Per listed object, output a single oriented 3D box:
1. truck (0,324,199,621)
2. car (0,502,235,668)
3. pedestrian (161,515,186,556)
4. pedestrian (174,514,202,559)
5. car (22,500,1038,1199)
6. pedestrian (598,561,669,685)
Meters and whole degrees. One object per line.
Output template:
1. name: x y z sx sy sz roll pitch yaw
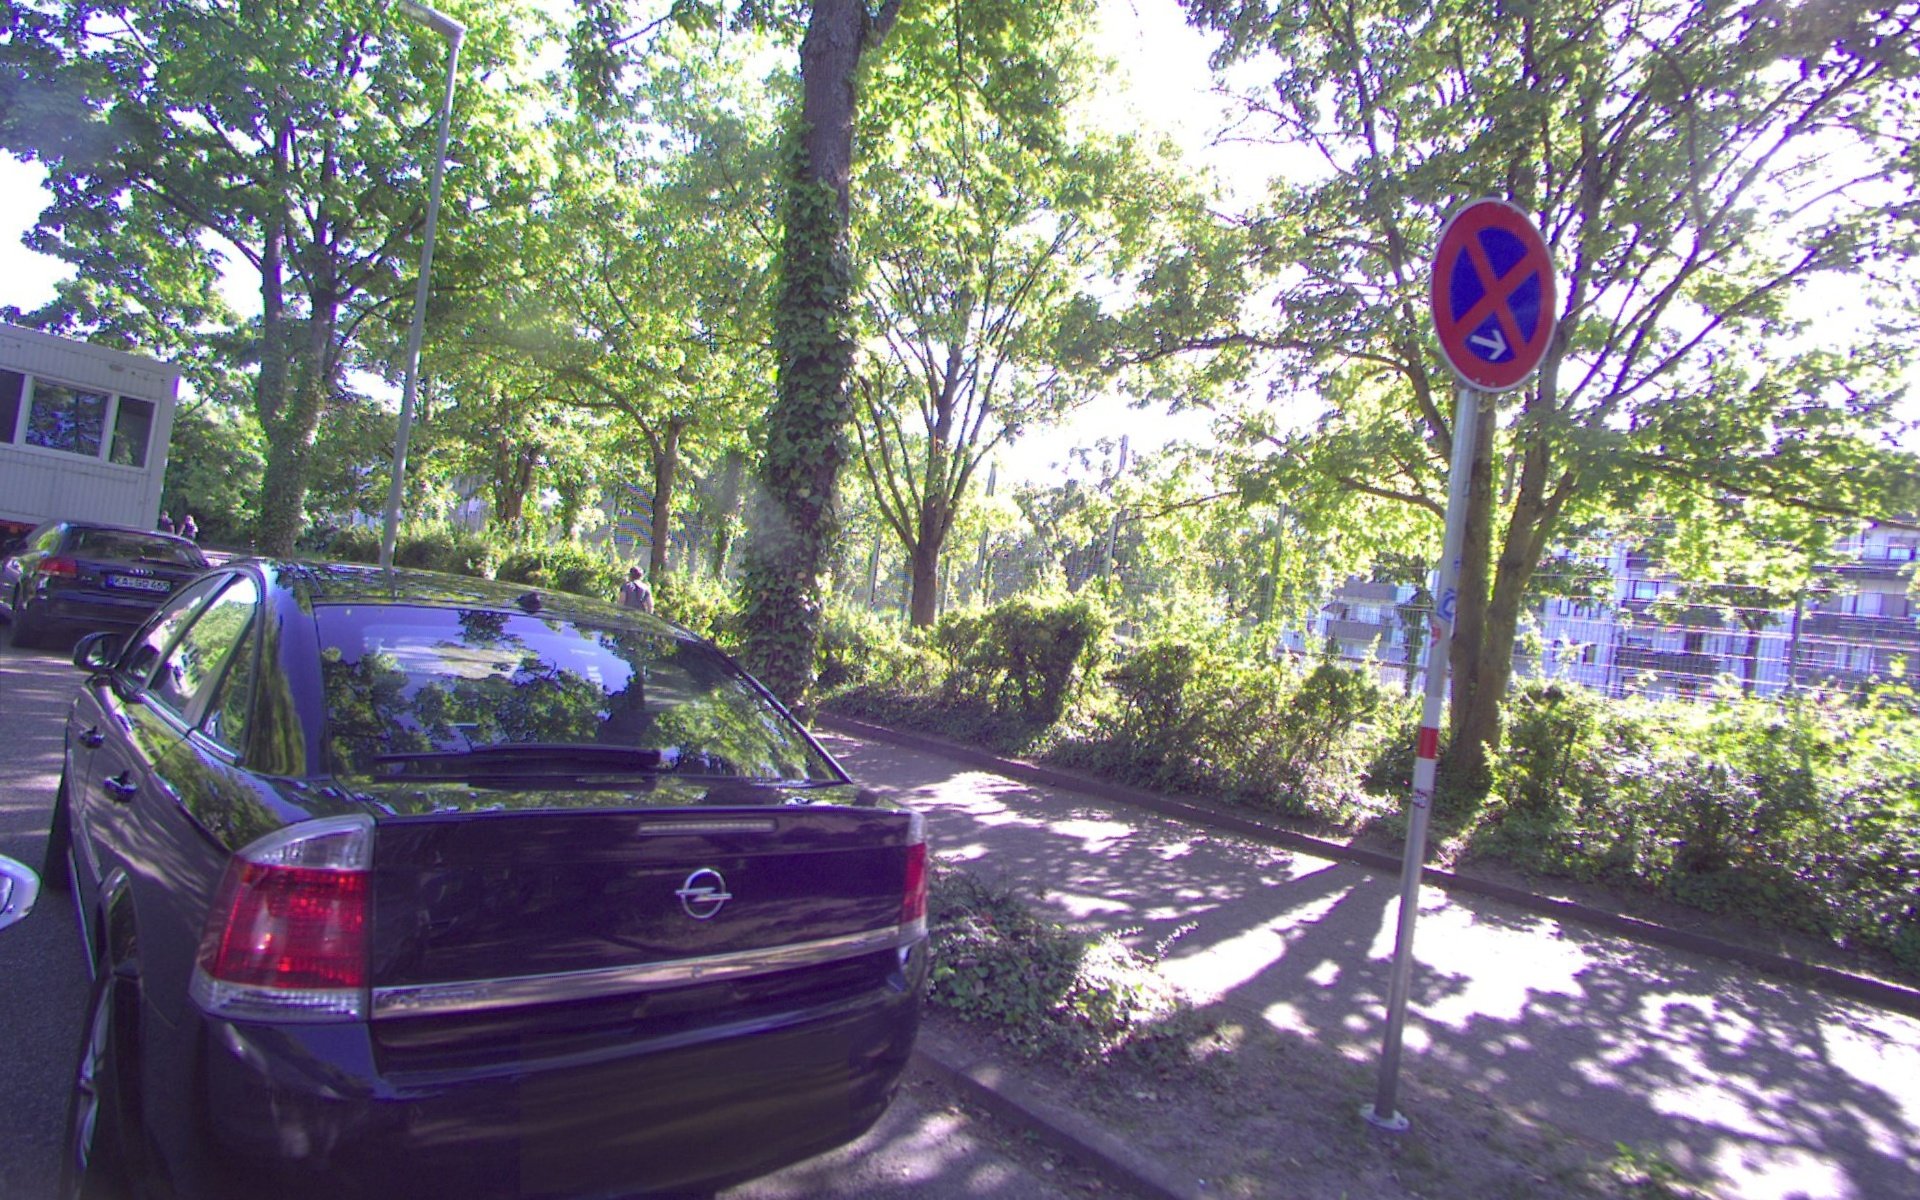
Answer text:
1. truck: -17.164 -2.280 18.752 10.211 4.041 2.770 7 -2 44
2. car: -10.097 -0.236 11.797 3.944 1.436 1.639 7 -2 41
3. pedestrian: -33.630 -2.765 43.009 0.592 1.631 0.597 7 1 41
4. pedestrian: -33.447 -2.746 43.566 0.690 1.835 0.697 7 1 41
5. car: -1.874 0.589 3.420 1.745 1.497 3.981 10 -3 -44
6. pedestrian: -4.583 0.312 14.093 0.568 1.627 0.664 8 0 -37
